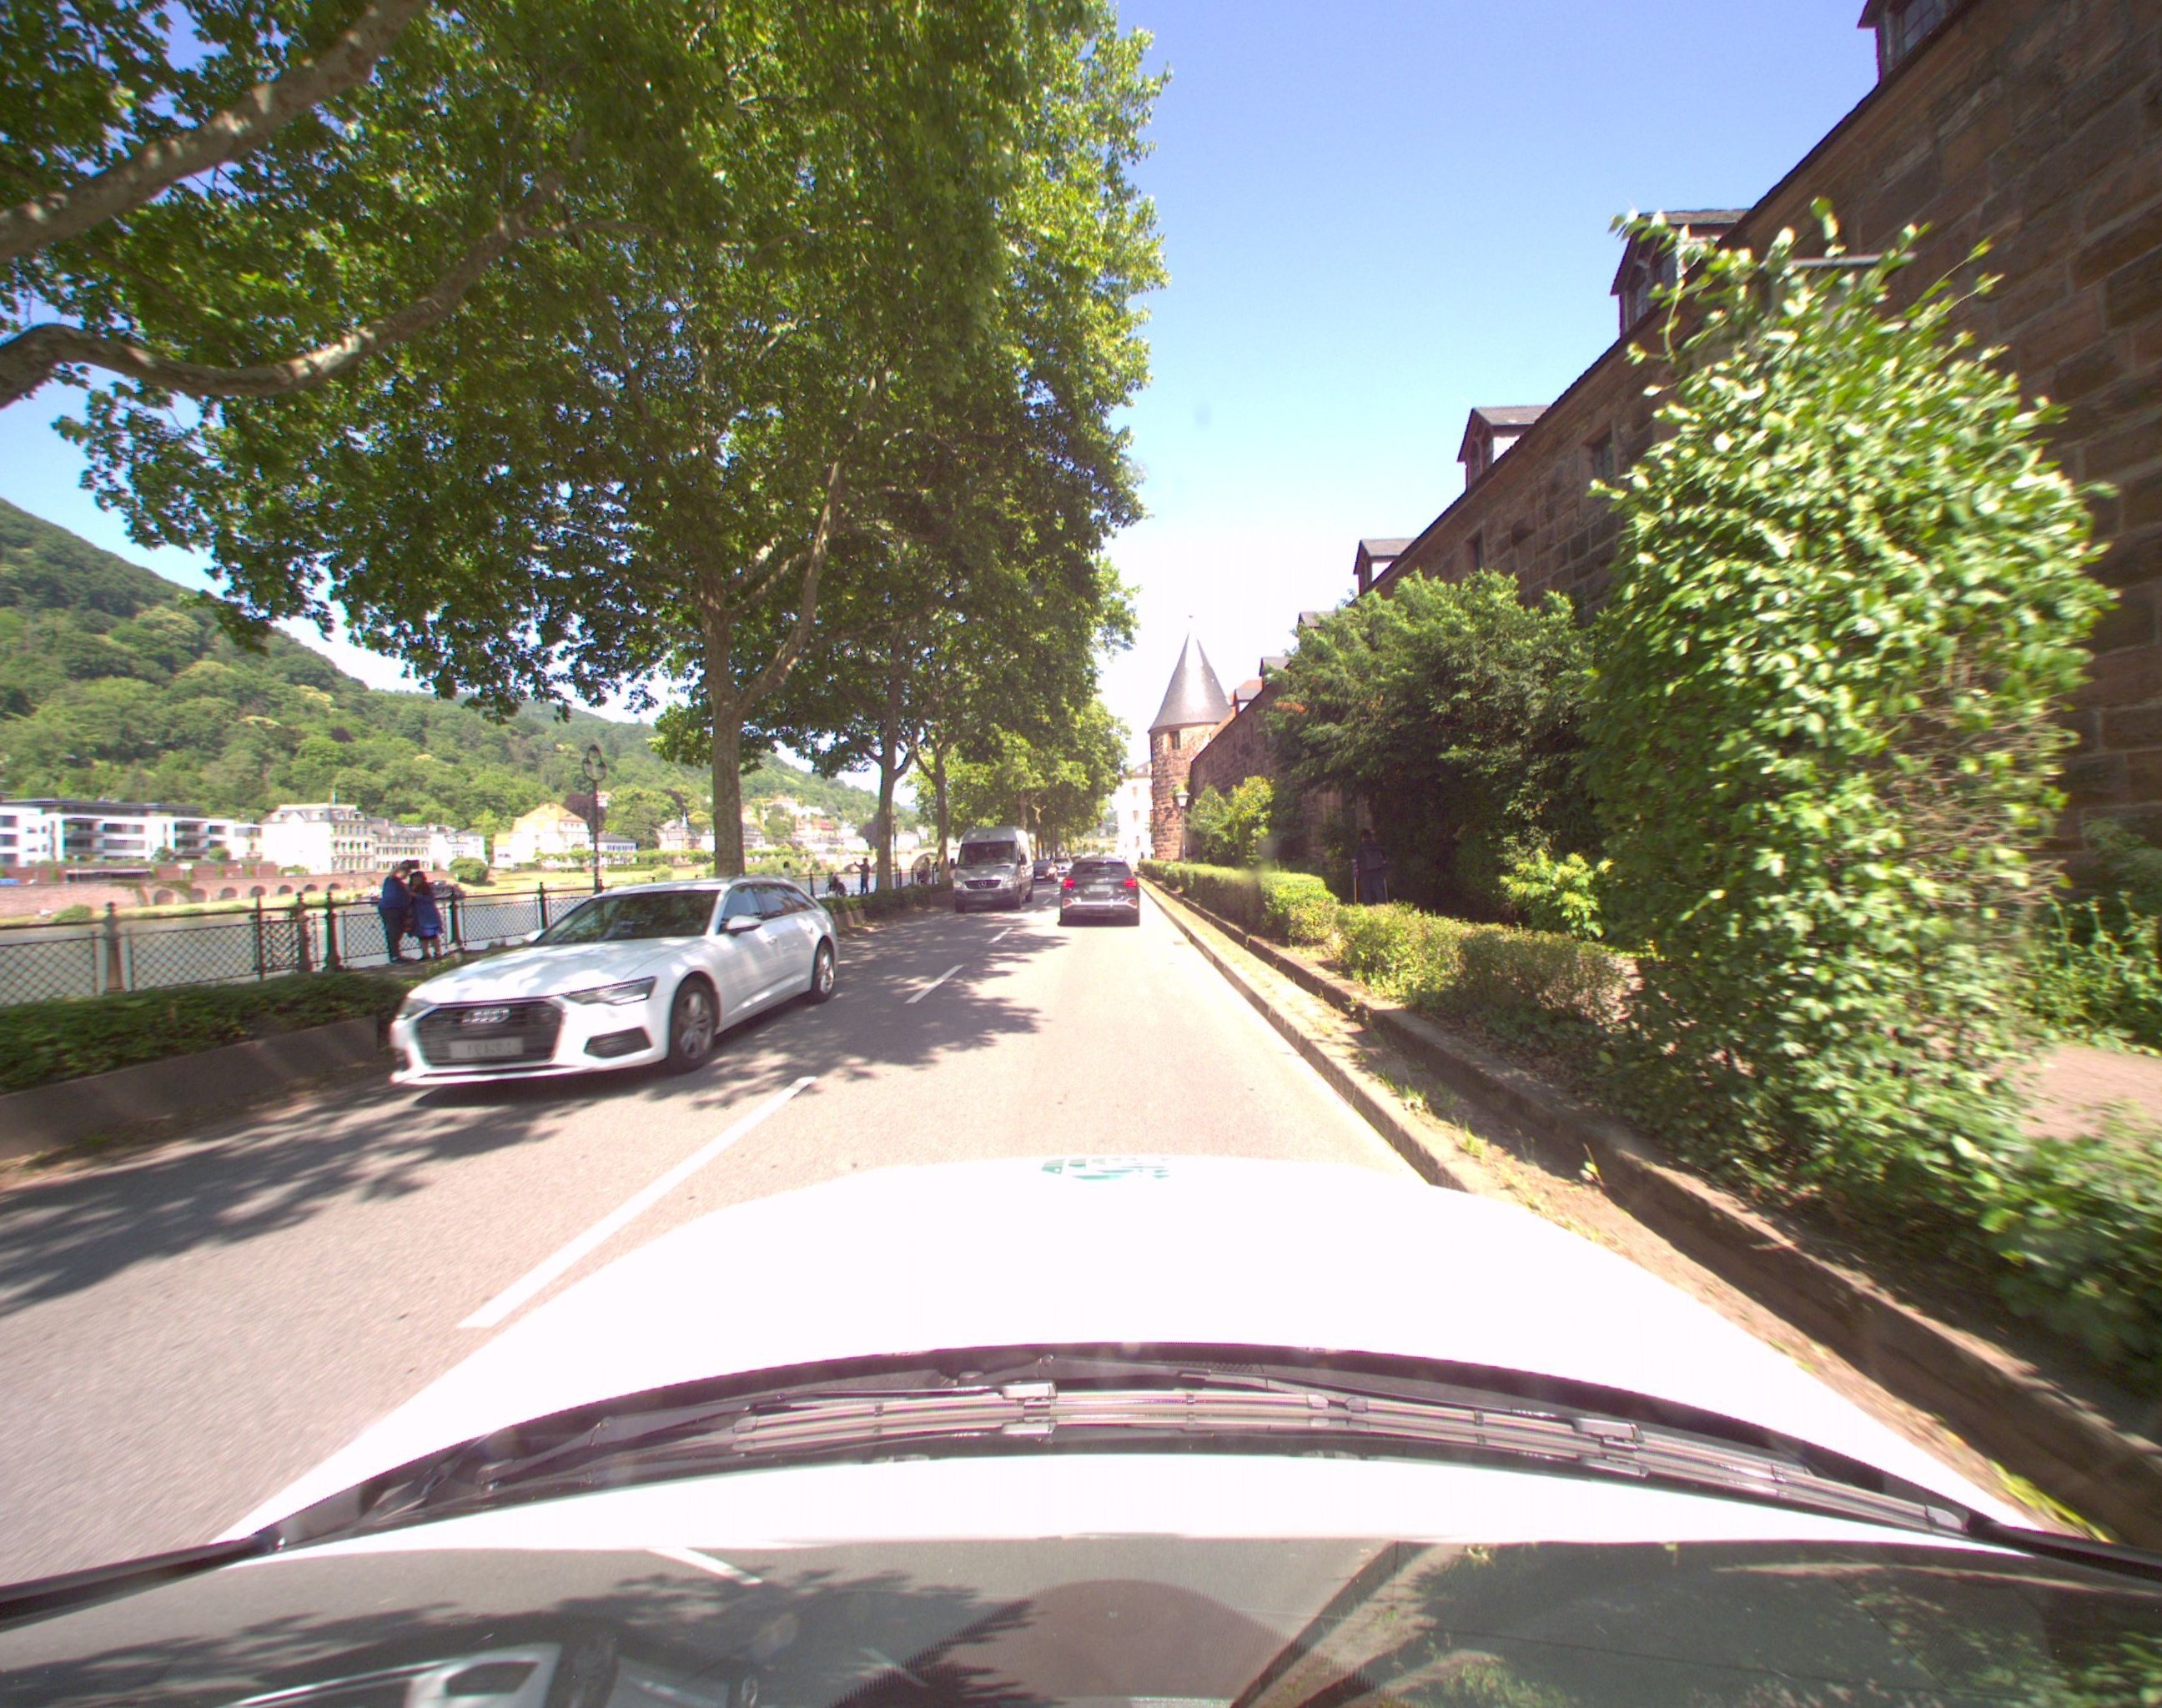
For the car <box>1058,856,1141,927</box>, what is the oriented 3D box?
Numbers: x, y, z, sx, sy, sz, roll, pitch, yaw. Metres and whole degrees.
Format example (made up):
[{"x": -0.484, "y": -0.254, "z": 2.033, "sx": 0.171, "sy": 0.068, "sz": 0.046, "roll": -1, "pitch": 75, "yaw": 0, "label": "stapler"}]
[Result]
[{"x": 0.424, "y": 0.806, "z": 19.112, "sx": 1.742, "sy": 1.494, "sz": 3.629, "roll": 0, "pitch": 0, "yaw": 1, "label": "car"}]

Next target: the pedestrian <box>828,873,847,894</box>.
[{"x": -10.774, "y": 1.318, "z": 36.044, "sx": 0.605, "sy": 0.884, "sz": 0.705, "roll": -2, "pitch": 0, "yaw": 1, "label": "pedestrian"}]

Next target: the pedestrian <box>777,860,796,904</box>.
[{"x": -11.634, "y": 1.109, "z": 32.167, "sx": 0.582, "sy": 1.710, "sz": 0.403, "roll": 0, "pitch": -1, "yaw": 0, "label": "pedestrian"}]

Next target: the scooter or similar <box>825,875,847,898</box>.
[{"x": -10.775, "y": 1.429, "z": 35.891, "sx": 0.629, "sy": 0.968, "sz": 1.012, "roll": 0, "pitch": -1, "yaw": 1, "label": "scooter or similar"}]

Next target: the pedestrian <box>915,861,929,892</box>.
[{"x": -8.102, "y": 1.156, "z": 41.509, "sx": 0.455, "sy": 1.554, "sz": 0.586, "roll": -3, "pitch": 0, "yaw": 1, "label": "pedestrian"}]

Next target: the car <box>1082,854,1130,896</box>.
[{"x": 1.031, "y": 0.794, "z": 32.350, "sx": 1.794, "sy": 1.562, "sz": 3.718, "roll": 0, "pitch": 0, "yaw": 3, "label": "car"}]

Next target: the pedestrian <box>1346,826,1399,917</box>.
[{"x": 5.493, "y": 0.323, "z": 15.380, "sx": 0.695, "sy": 1.652, "sz": 0.705, "roll": -3, "pitch": 0, "yaw": 4, "label": "pedestrian"}]

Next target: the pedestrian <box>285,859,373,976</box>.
[{"x": -11.970, "y": 0.984, "z": 12.986, "sx": 0.701, "sy": 1.797, "sz": 0.705, "roll": -2, "pitch": -1, "yaw": 3, "label": "pedestrian"}]

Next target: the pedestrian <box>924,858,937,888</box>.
[{"x": -7.900, "y": 0.993, "z": 42.696, "sx": 0.455, "sy": 1.554, "sz": 0.586, "roll": -3, "pitch": 0, "yaw": 1, "label": "pedestrian"}]

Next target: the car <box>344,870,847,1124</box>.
[{"x": -3.770, "y": 0.956, "z": 7.488, "sx": 1.763, "sy": 1.457, "sz": 4.534, "roll": -4, "pitch": 0, "yaw": 1, "label": "car"}]

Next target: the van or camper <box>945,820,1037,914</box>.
[{"x": -2.731, "y": 0.391, "z": 26.309, "sx": 1.953, "sy": 2.567, "sz": 5.843, "roll": -4, "pitch": -1, "yaw": 2, "label": "van or camper"}]

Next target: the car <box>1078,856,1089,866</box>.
[{"x": 0.441, "y": 1.148, "z": 130.815, "sx": 1.608, "sy": 1.523, "sz": 3.479, "roll": 0, "pitch": 0, "yaw": 4, "label": "car"}]

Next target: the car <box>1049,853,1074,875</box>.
[{"x": -1.635, "y": 0.800, "z": 68.698, "sx": 1.870, "sy": 1.698, "sz": 4.259, "roll": -3, "pitch": 0, "yaw": 1, "label": "car"}]

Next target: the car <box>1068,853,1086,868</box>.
[{"x": -0.444, "y": 0.793, "z": 95.892, "sx": 1.755, "sy": 1.647, "sz": 4.094, "roll": -3, "pitch": 0, "yaw": 4, "label": "car"}]

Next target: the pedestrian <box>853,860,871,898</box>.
[{"x": -9.524, "y": 1.086, "z": 35.369, "sx": 0.642, "sy": 1.618, "sz": 0.458, "roll": 0, "pitch": -1, "yaw": 0, "label": "pedestrian"}]

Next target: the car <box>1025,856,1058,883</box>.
[{"x": -2.363, "y": 0.902, "z": 49.059, "sx": 1.644, "sy": 1.469, "sz": 3.780, "roll": -3, "pitch": 0, "yaw": 1, "label": "car"}]

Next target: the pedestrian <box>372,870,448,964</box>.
[{"x": -11.849, "y": 1.096, "z": 14.401, "sx": 0.701, "sy": 1.603, "sz": 0.705, "roll": -2, "pitch": -1, "yaw": 3, "label": "pedestrian"}]

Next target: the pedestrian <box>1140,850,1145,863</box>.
[{"x": 7.888, "y": 0.292, "z": 104.932, "sx": 0.555, "sy": 1.633, "sz": 0.660, "roll": -1, "pitch": -1, "yaw": 3, "label": "pedestrian"}]
